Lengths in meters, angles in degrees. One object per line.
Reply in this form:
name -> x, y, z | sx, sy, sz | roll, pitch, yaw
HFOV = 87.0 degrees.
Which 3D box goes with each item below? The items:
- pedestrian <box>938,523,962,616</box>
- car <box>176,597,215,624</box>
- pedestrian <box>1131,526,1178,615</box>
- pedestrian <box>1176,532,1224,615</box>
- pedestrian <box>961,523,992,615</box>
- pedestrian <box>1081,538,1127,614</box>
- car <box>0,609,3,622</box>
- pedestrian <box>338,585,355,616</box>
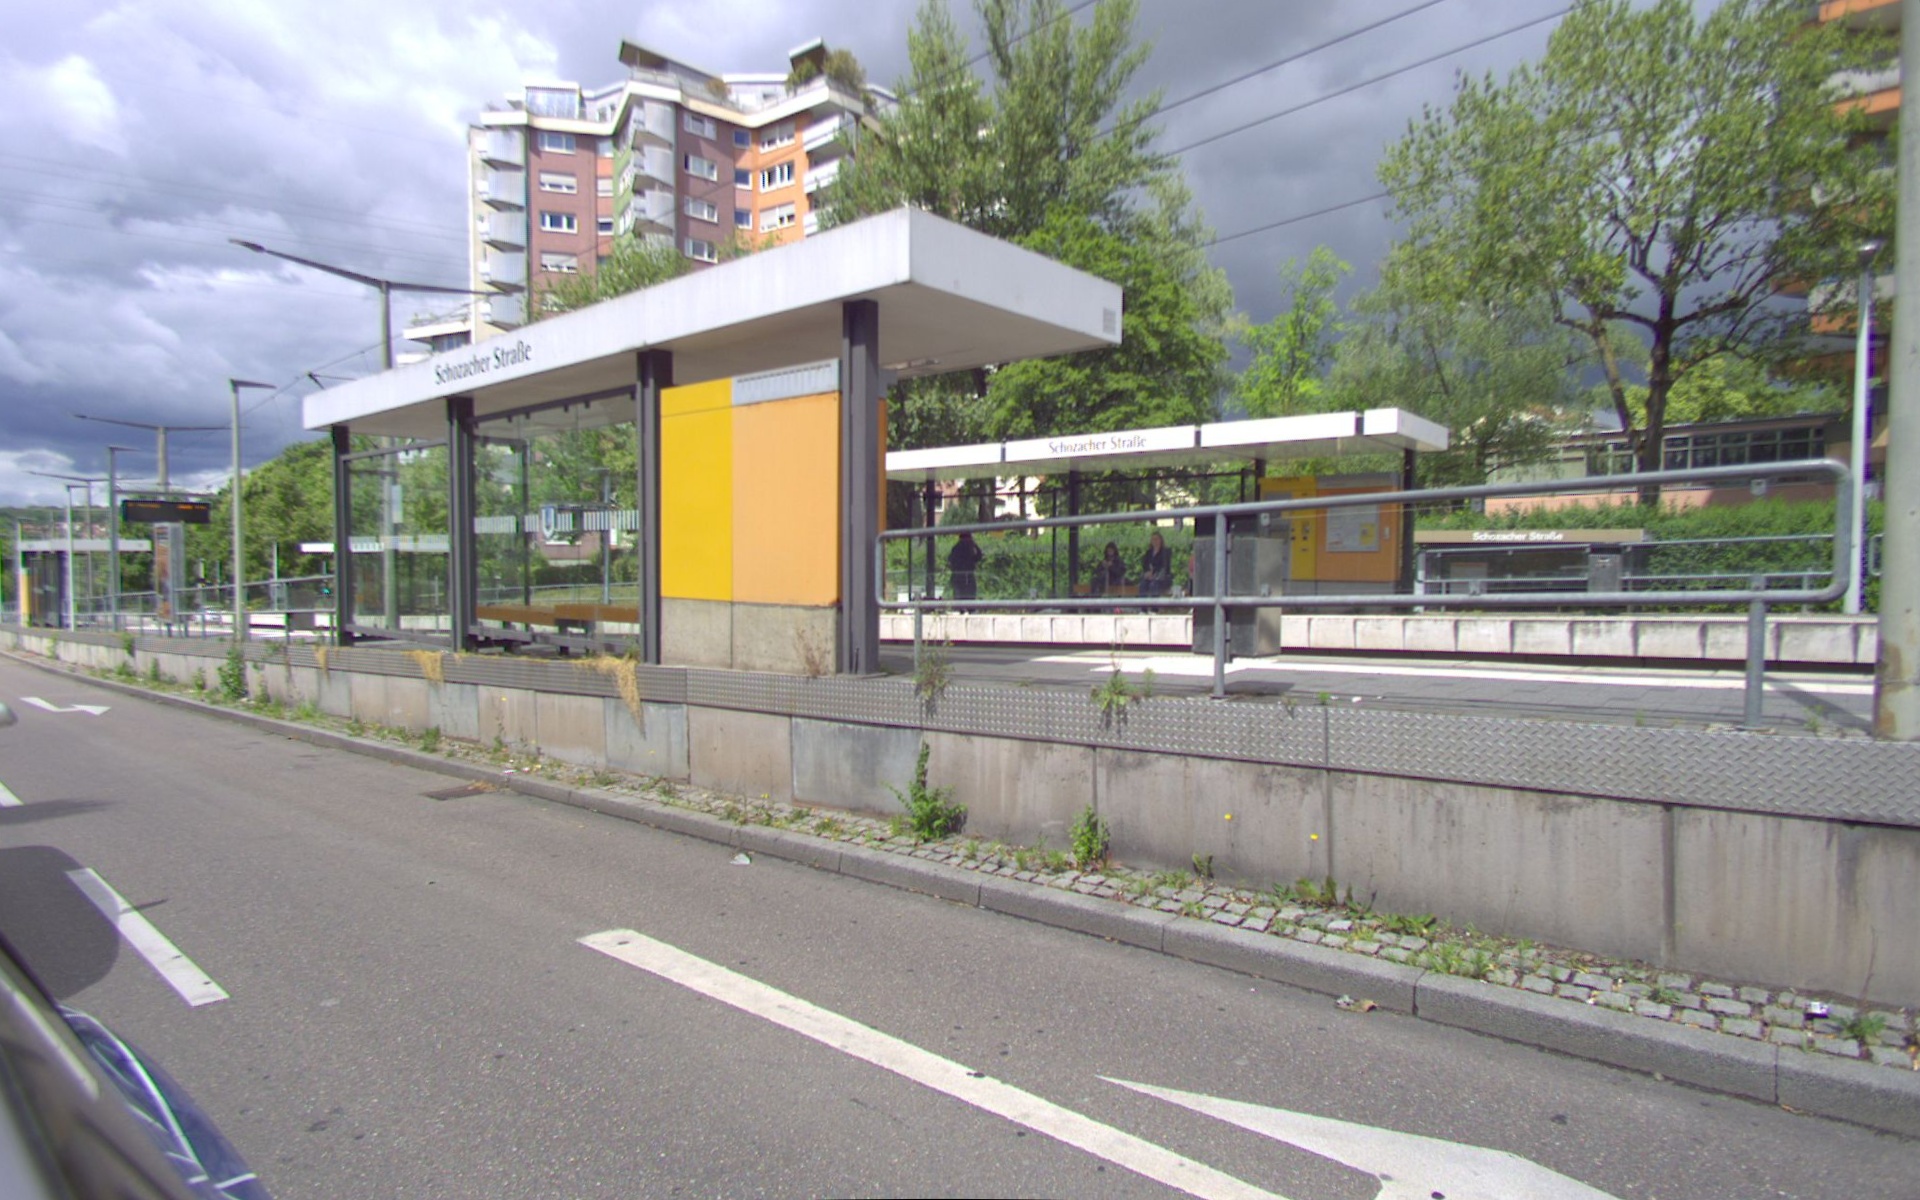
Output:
pedestrian -> -0.190, -0.575, 19.118 | 0.421, 1.726, 0.353 | -1, 0, -1
car -> -60.456, 0.830, 80.000 | 4.000, 2.029, 1.714 | -1, 0, 43
pedestrian -> 3.204, -0.481, 16.685 | 0.463, 1.428, 0.704 | -1, 0, 40
pedestrian -> 3.828, -0.418, 16.131 | 0.463, 1.287, 0.704 | -1, 0, 40
pedestrian -> 0.319, -0.583, 19.221 | 0.544, 1.726, 0.386 | -1, 0, -2
pedestrian -> 2.489, -0.401, 17.485 | 0.463, 1.287, 0.704 | -1, 0, 40
car -> -130.309, 2.073, 136.522 | 1.776, 1.720, 4.004 | -1, 1, -43
pedestrian -> -25.514, 0.012, 42.074 | 0.528, 1.287, 0.563 | -1, 0, -41
